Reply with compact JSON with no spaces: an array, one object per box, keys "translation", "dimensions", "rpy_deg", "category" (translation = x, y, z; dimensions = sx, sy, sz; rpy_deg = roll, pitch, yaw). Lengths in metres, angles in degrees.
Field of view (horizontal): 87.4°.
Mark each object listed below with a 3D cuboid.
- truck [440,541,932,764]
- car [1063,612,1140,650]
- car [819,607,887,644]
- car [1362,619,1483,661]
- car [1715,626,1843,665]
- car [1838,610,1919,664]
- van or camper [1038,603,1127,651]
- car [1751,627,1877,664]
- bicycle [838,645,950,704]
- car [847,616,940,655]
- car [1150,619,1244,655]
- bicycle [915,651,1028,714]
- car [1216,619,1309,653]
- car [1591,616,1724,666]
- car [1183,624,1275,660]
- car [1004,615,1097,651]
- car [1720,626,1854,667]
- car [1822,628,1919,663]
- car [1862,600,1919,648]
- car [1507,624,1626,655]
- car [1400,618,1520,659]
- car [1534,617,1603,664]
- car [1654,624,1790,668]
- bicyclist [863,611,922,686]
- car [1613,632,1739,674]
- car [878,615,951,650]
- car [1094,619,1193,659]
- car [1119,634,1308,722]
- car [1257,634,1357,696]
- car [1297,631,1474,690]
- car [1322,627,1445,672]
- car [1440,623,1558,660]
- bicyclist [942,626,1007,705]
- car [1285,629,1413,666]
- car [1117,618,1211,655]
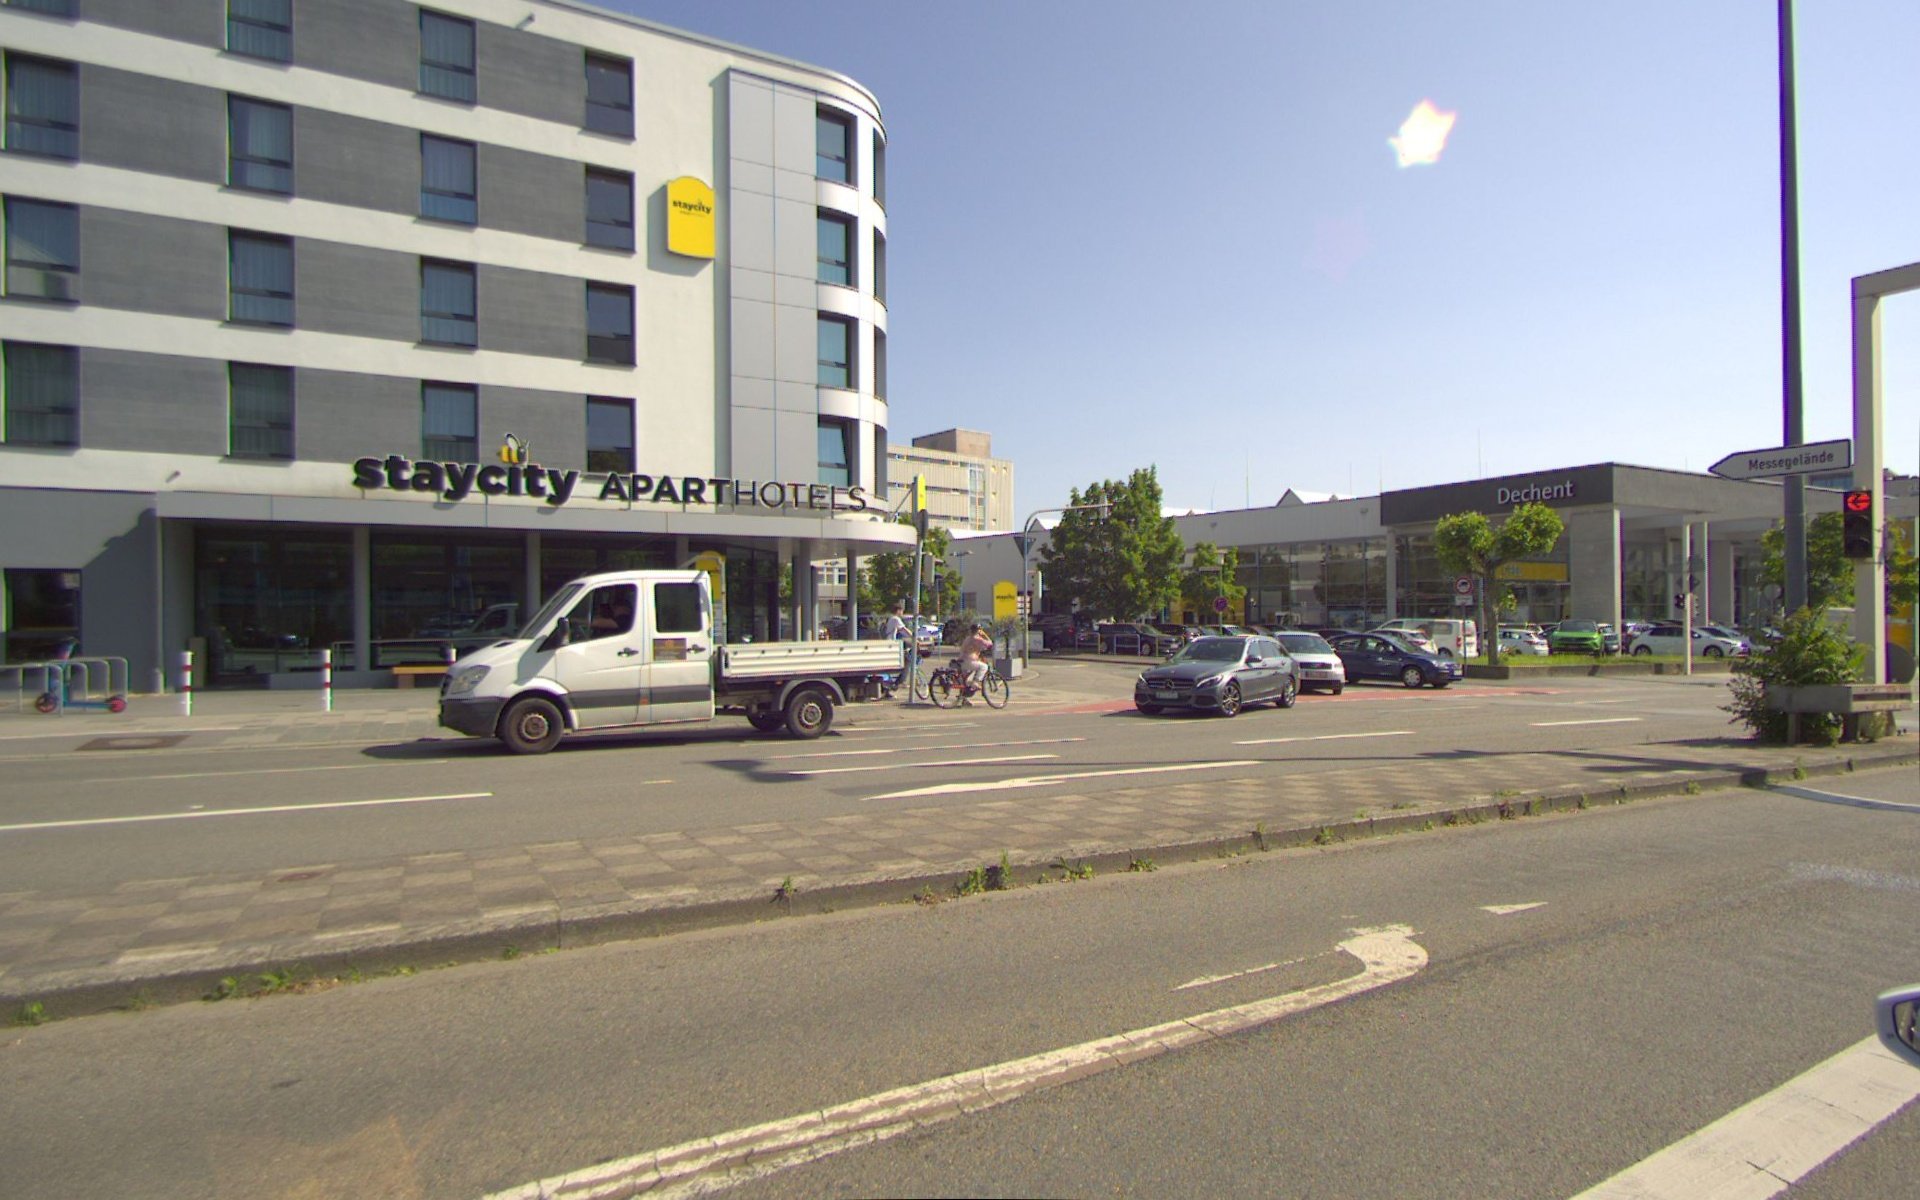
[{"translation":[-3.741,0.690,14.235],"dimensions":[6.360,2.579,2.347],"rpy_deg":[1,-1,-30],"category":"truck"},{"translation":[7.757,1.680,55.301],"dimensions":[1.983,2.040,3.956],"rpy_deg":[1,-2,-38],"category":"car"},{"translation":[-6.801,1.590,63.513],"dimensions":[1.985,2.158,4.565],"rpy_deg":[2,0,-42],"category":"car"},{"translation":[19.874,1.692,43.316],"dimensions":[1.982,1.719,4.323],"rpy_deg":[1,-2,-38],"category":"car"},{"translation":[38.800,2.123,47.676],"dimensions":[1.978,1.719,4.333],"rpy_deg":[1,-2,-32],"category":"car"},{"translation":[49.088,1.926,52.391],"dimensions":[2.096,2.720,4.490],"rpy_deg":[1,-1,-21],"category":"car"},{"translation":[6.405,1.403,52.997],"dimensions":[1.983,2.432,4.678],"rpy_deg":[1,-2,-38],"category":"van or camper"},{"translation":[41.648,2.172,49.066],"dimensions":[1.978,1.719,4.333],"rpy_deg":[1,-2,-32],"category":"car"},{"translation":[-1.339,1.477,20.335],"dimensions":[2.130,1.131,0.766],"rpy_deg":[1,-1,-22],"category":"bicycle"},{"translation":[-3.194,1.627,47.361],"dimensions":[1.984,1.737,4.773],"rpy_deg":[1,-2,-40],"category":"car"},{"translation":[11.669,1.800,49.665],"dimensions":[1.980,1.719,4.328],"rpy_deg":[1,-2,-35],"category":"car"},{"translation":[0.241,1.577,19.499],"dimensions":[2.137,1.131,0.764],"rpy_deg":[1,-1,-32],"category":"bicycle"},{"translation":[15.813,1.868,52.692],"dimensions":[1.982,1.719,4.324],"rpy_deg":[1,-2,-37],"category":"car"},{"translation":[27.352,1.566,39.492],"dimensions":[1.978,1.862,3.849],"rpy_deg":[1,-2,-32],"category":"car"},{"translation":[13.750,2.108,51.505],"dimensions":[1.980,1.719,4.328],"rpy_deg":[1,-2,-35],"category":"car"},{"translation":[4.499,1.616,50.159],"dimensions":[4.304,1.719,1.991],"rpy_deg":[-1,-2,39],"category":"car"},{"translation":[37.440,2.068,45.593],"dimensions":[1.978,1.719,4.333],"rpy_deg":[1,-1,-32],"category":"car"},{"translation":[47.018,2.281,51.125],"dimensions":[1.973,1.719,4.345],"rpy_deg":[1,-1,-24],"category":"car"},{"translation":[53.238,1.341,55.754],"dimensions":[1.973,2.635,4.345],"rpy_deg":[1,-1,-24],"category":"car"},{"translation":[27.867,1.825,46.265],"dimensions":[1.982,1.284,4.325],"rpy_deg":[4,-4,-37],"category":"car"},{"translation":[21.946,1.665,44.195],"dimensions":[1.982,1.719,4.323],"rpy_deg":[1,-2,-38],"category":"car"},{"translation":[23.994,1.600,39.716],"dimensions":[1.870,1.756,3.293],"rpy_deg":[0,-3,23],"category":"car"},{"translation":[32.852,1.943,43.405],"dimensions":[1.978,1.789,4.274],"rpy_deg":[1,-2,-32],"category":"car"},{"translation":[-1.371,0.965,20.333],"dimensions":[1.011,1.479,0.767],"rpy_deg":[1,-1,-21],"category":"bicyclist"},{"translation":[30.242,2.200,42.505],"dimensions":[1.981,1.620,3.959],"rpy_deg":[1,-2,-36],"category":"car"},{"translation":[-2.713,1.894,59.337],"dimensions":[1.971,1.815,4.376],"rpy_deg":[2,0,-42],"category":"car"},{"translation":[8.341,1.740,46.026],"dimensions":[1.980,1.719,4.328],"rpy_deg":[1,-2,-35],"category":"car"},{"translation":[5.047,1.411,19.561],"dimensions":[1.931,1.446,4.567],"rpy_deg":[-2,-2,37],"category":"car"},{"translation":[8.907,1.624,26.105],"dimensions":[1.742,1.457,3.918],"rpy_deg":[0,-1,8],"category":"car"},{"translation":[12.258,1.692,29.136],"dimensions":[1.982,1.466,4.323],"rpy_deg":[2,-1,-38],"category":"car"},{"translation":[17.400,1.977,41.412],"dimensions":[1.980,1.719,4.328],"rpy_deg":[1,-2,-35],"category":"car"},{"translation":[24.553,1.860,45.878],"dimensions":[1.982,1.612,4.325],"rpy_deg":[1,-2,-37],"category":"car"},{"translation":[0.277,1.251,19.515],"dimensions":[1.015,1.479,0.764],"rpy_deg":[1,-1,-32],"category":"bicyclist"},{"translation":[15.079,1.794,39.120],"dimensions":[1.980,1.317,4.328],"rpy_deg":[1,-2,-35],"category":"car"},{"translation":[9.792,1.722,48.449],"dimensions":[1.980,1.719,4.328],"rpy_deg":[1,-2,-35],"category":"car"}]
